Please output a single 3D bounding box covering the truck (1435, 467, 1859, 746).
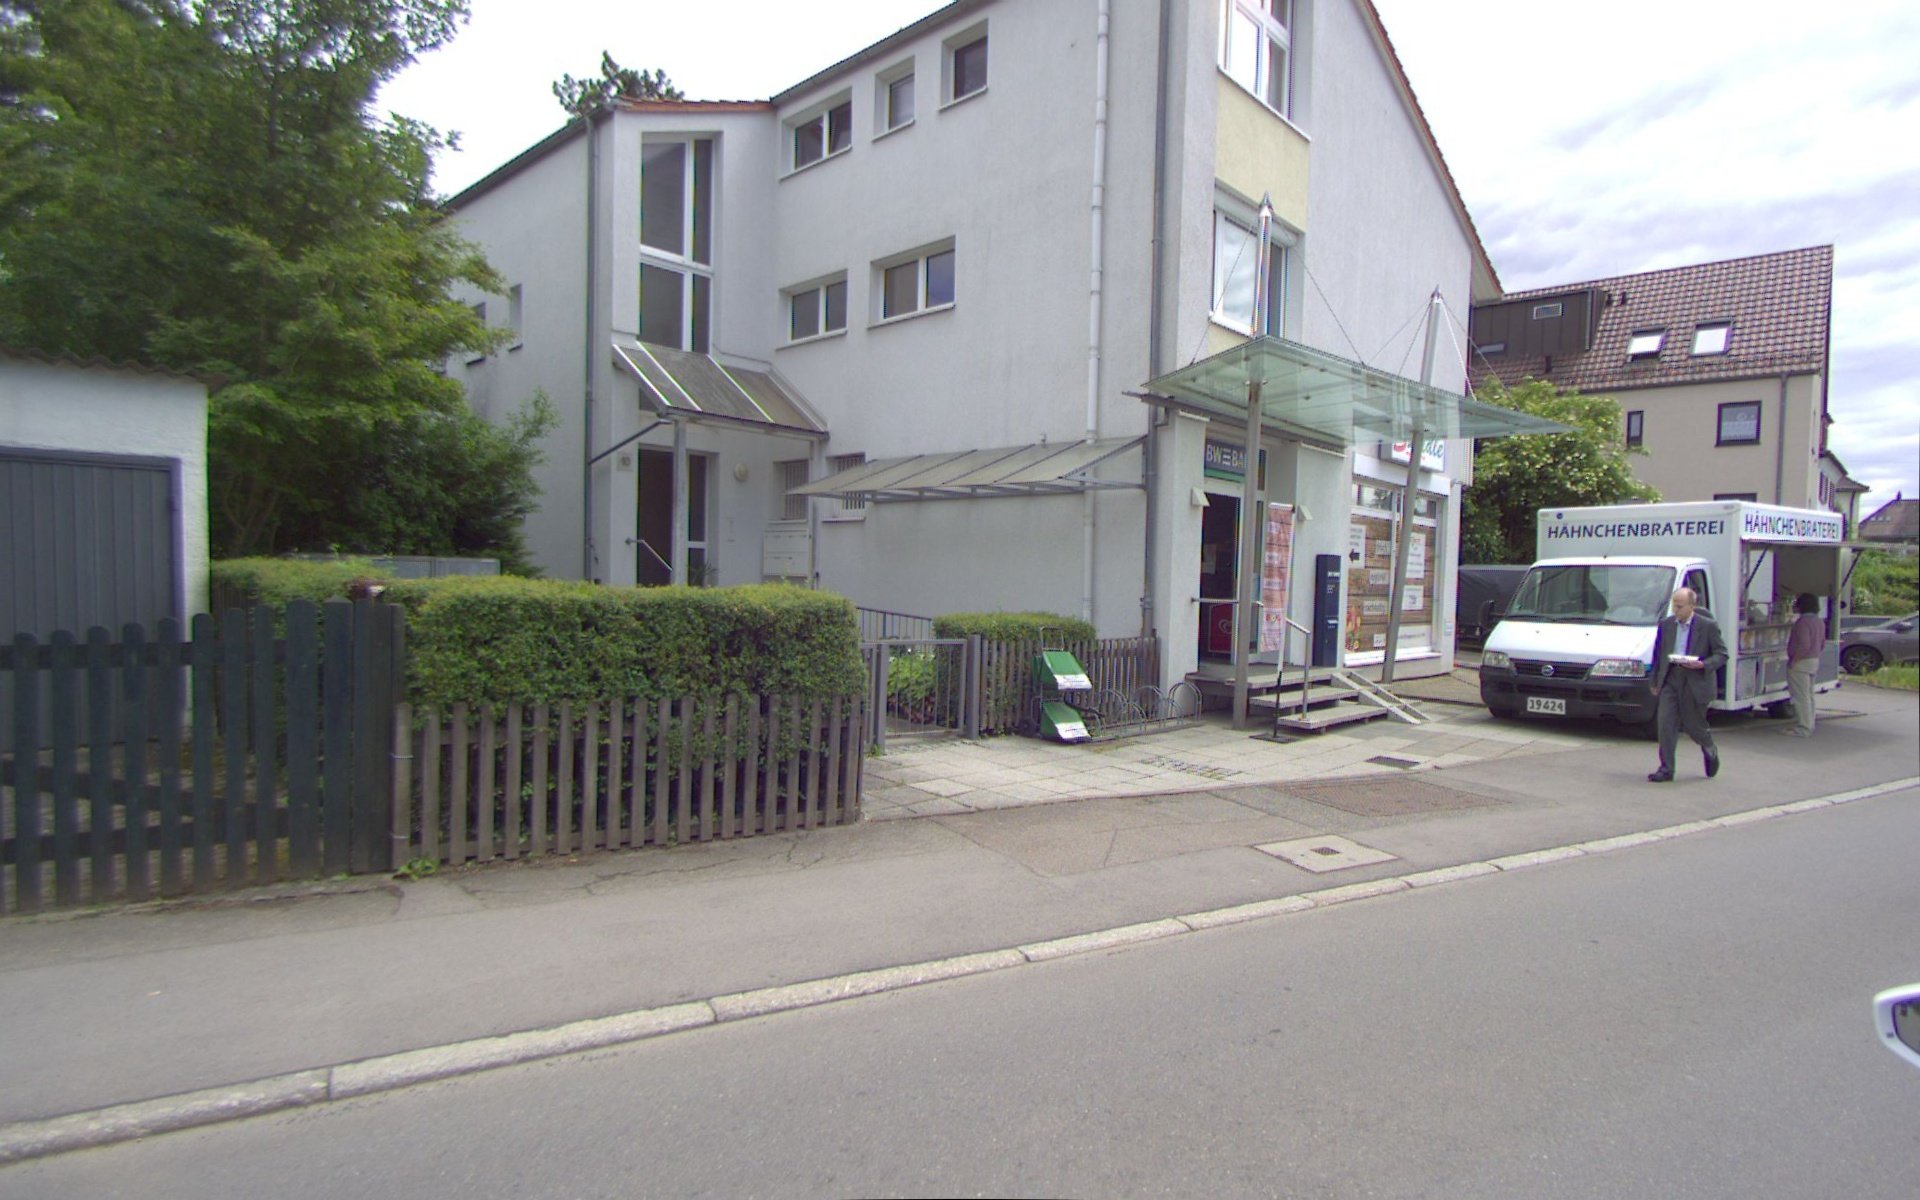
[{"bbox_3d":[9.276,0.083,13.281,6.642,2.879,2.456,1,2,-36],"label":"truck"}]

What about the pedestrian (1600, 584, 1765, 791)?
[{"bbox_3d":[6.493,0.746,9.032,1.096,1.709,0.719,1,3,-30],"label":"pedestrian"}]

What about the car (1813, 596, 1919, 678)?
[{"bbox_3d":[22.455,0.925,22.969,1.786,1.718,4.268,0,4,-44],"label":"car"}]

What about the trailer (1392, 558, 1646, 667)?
[{"bbox_3d":[12.825,0.167,23.397,1.687,2.108,4.827,-1,5,-36],"label":"trailer"}]

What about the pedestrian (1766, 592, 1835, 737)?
[{"bbox_3d":[10.287,0.774,12.295,0.591,1.718,0.398,1,4,-36],"label":"pedestrian"}]
